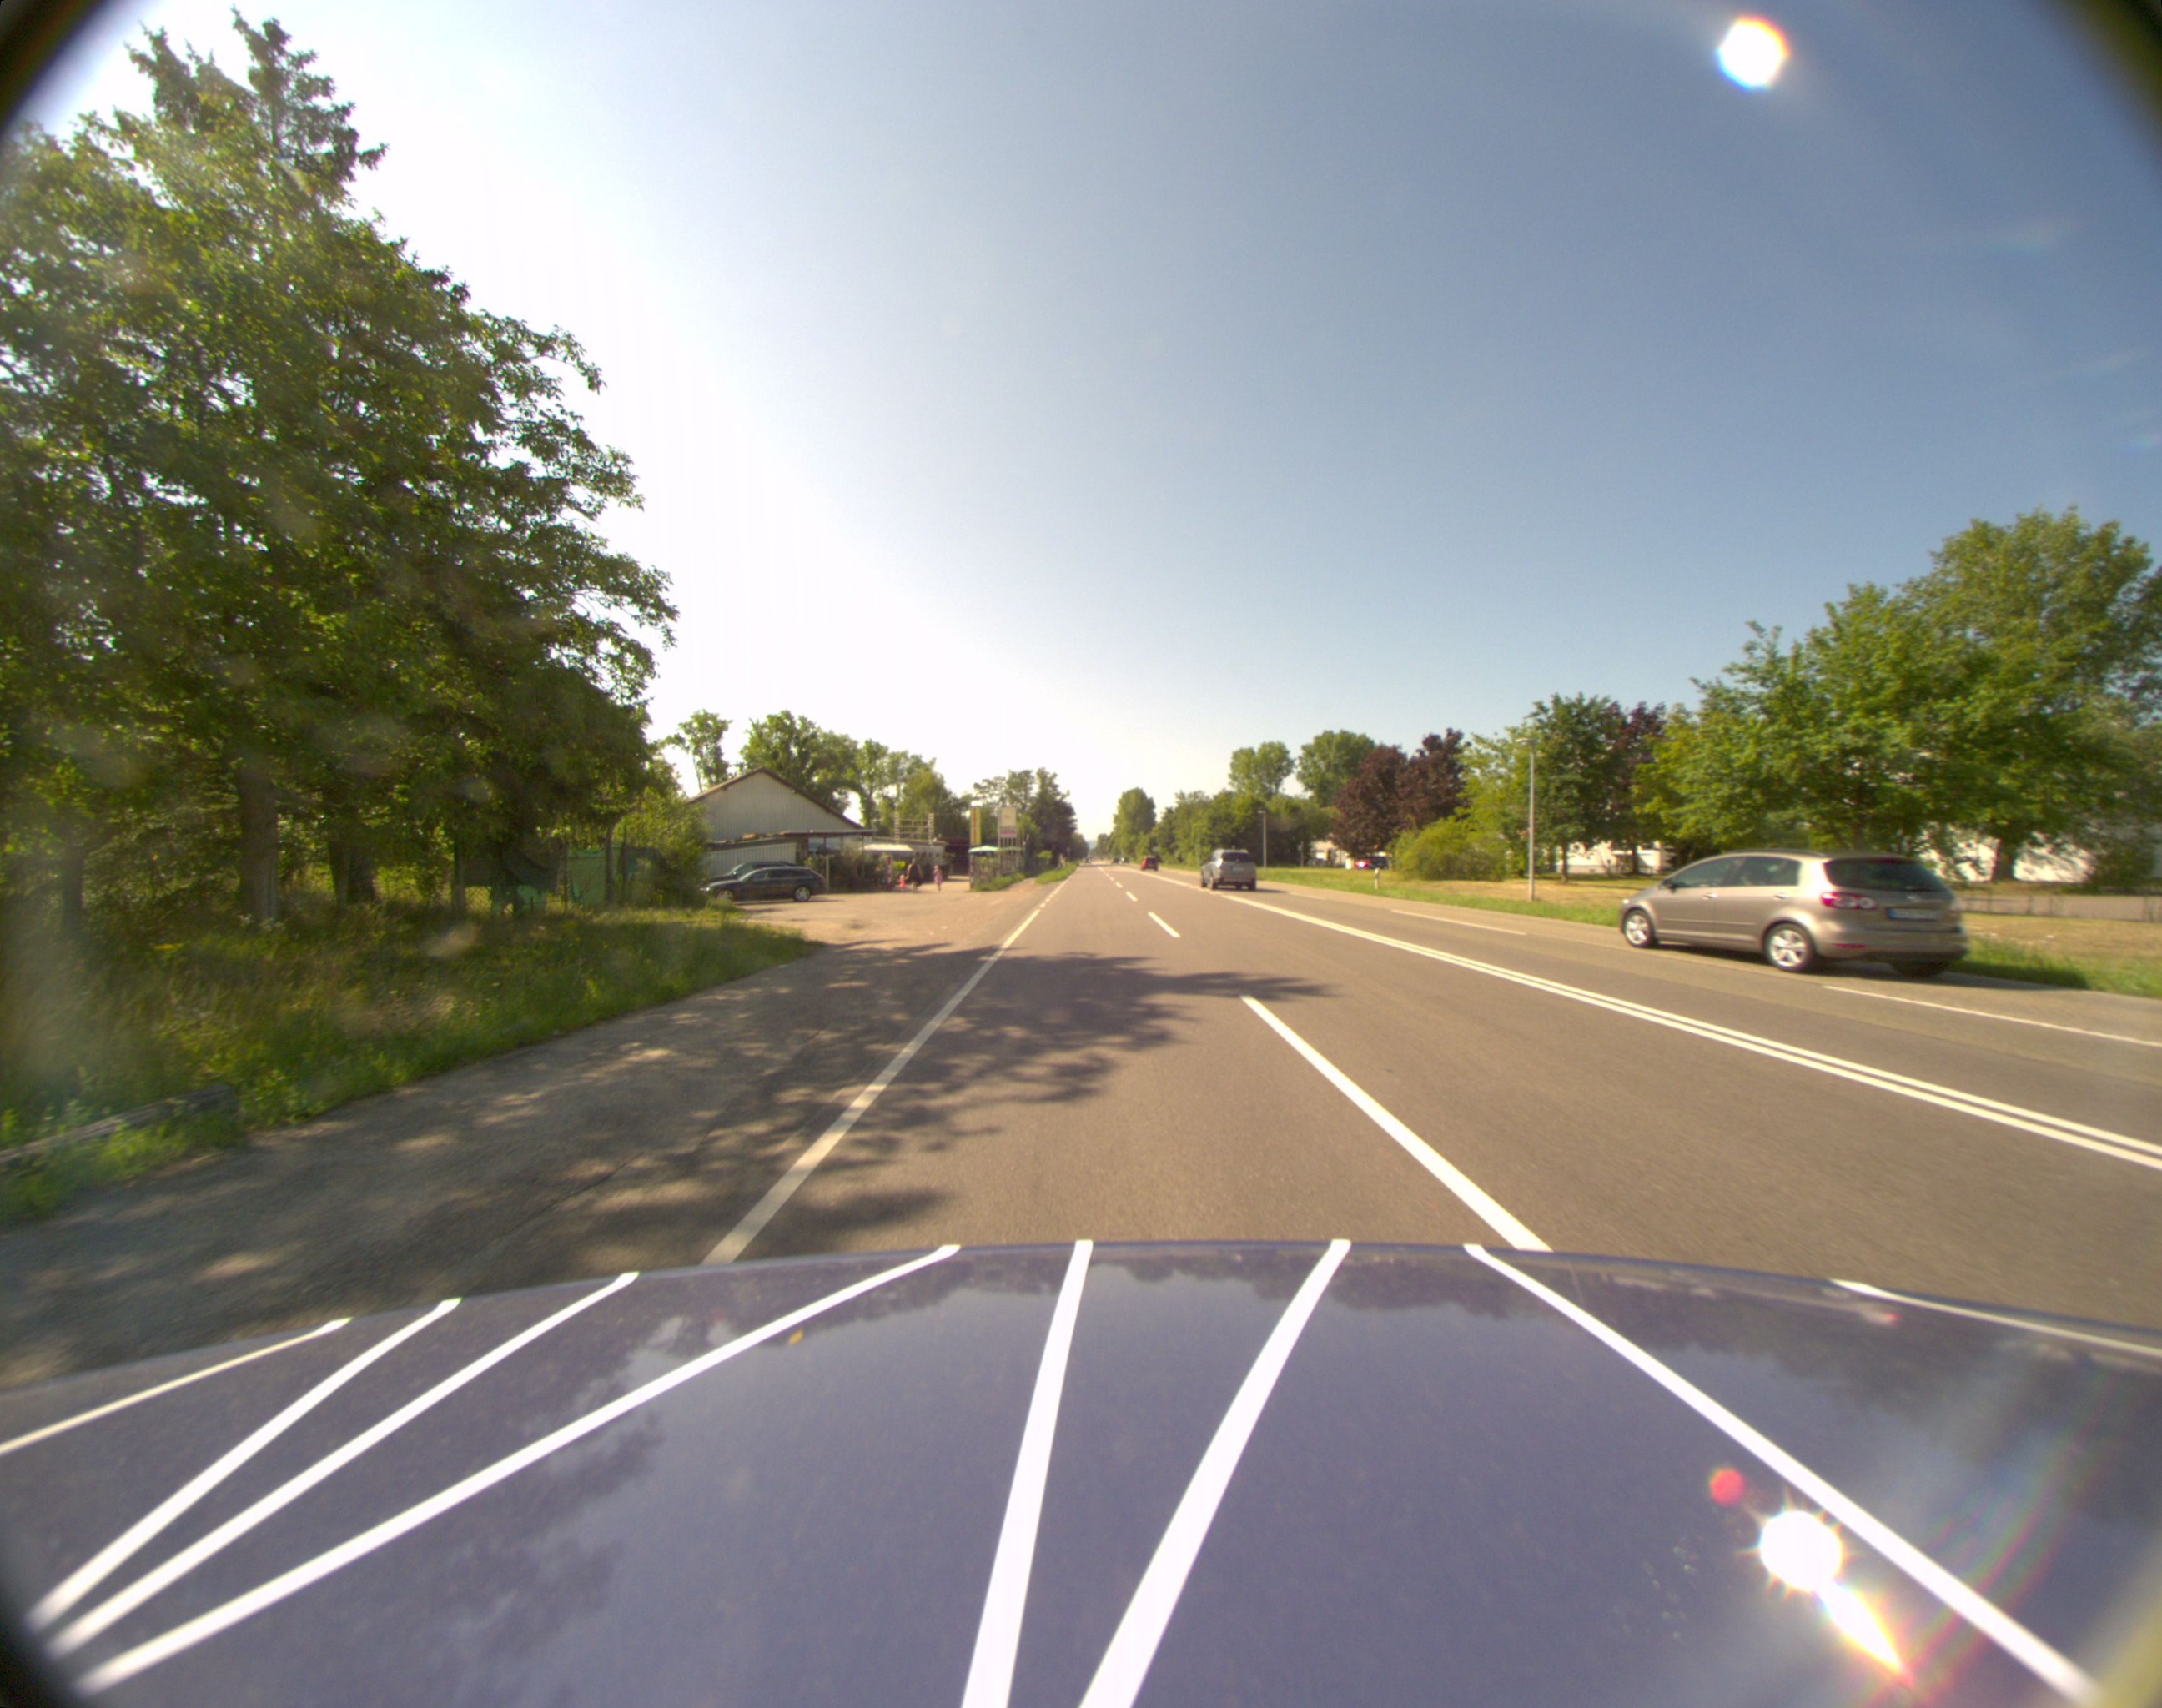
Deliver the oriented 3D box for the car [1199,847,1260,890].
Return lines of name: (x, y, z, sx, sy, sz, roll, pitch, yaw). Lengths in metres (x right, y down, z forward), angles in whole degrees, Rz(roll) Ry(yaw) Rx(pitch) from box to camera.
car: (6.410, 0.591, 33.277, 1.776, 1.704, 4.569, 2, 0, 0)

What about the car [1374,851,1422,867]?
car: (28.220, 0.464, 67.652, 4.006, 1.362, 1.818, 0, -1, -29)

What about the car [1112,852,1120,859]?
car: (8.104, 0.347, 175.492, 1.768, 1.403, 4.174, 0, -1, 1)

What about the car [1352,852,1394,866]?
car: (29.489, 0.556, 76.710, 4.006, 1.362, 1.818, 0, -1, -29)

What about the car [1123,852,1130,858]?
car: (11.188, 0.322, 187.346, 1.768, 1.403, 4.001, 0, -1, 1)

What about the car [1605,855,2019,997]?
car: (9.677, 0.807, 10.658, 1.733, 1.552, 4.215, 1, 0, 0)

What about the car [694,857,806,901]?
car: (-14.851, 1.080, 34.147, 4.470, 1.792, 1.860, -1, 0, -28)

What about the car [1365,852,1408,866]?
car: (29.696, 0.502, 73.842, 4.006, 1.362, 1.818, 0, -1, -29)

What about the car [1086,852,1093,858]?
car: (2.266, 0.321, 194.006, 1.768, 1.403, 4.001, 0, -1, 1)

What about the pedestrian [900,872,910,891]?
pedestrian: (-9.036, 1.419, 39.035, 0.470, 0.978, 0.338, -1, 1, -15)

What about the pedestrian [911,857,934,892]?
pedestrian: (-8.177, 1.028, 39.218, 1.101, 1.775, 0.935, -1, 1, -15)

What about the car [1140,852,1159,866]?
car: (7.395, 0.530, 82.589, 1.654, 1.489, 3.844, 2, 0, 0)

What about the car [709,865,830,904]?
car: (-12.884, 1.232, 31.488, 4.470, 1.422, 1.711, -1, 0, -28)

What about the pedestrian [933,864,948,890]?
pedestrian: (-7.541, 1.229, 40.698, 0.725, 1.330, 0.824, -1, 1, -15)
